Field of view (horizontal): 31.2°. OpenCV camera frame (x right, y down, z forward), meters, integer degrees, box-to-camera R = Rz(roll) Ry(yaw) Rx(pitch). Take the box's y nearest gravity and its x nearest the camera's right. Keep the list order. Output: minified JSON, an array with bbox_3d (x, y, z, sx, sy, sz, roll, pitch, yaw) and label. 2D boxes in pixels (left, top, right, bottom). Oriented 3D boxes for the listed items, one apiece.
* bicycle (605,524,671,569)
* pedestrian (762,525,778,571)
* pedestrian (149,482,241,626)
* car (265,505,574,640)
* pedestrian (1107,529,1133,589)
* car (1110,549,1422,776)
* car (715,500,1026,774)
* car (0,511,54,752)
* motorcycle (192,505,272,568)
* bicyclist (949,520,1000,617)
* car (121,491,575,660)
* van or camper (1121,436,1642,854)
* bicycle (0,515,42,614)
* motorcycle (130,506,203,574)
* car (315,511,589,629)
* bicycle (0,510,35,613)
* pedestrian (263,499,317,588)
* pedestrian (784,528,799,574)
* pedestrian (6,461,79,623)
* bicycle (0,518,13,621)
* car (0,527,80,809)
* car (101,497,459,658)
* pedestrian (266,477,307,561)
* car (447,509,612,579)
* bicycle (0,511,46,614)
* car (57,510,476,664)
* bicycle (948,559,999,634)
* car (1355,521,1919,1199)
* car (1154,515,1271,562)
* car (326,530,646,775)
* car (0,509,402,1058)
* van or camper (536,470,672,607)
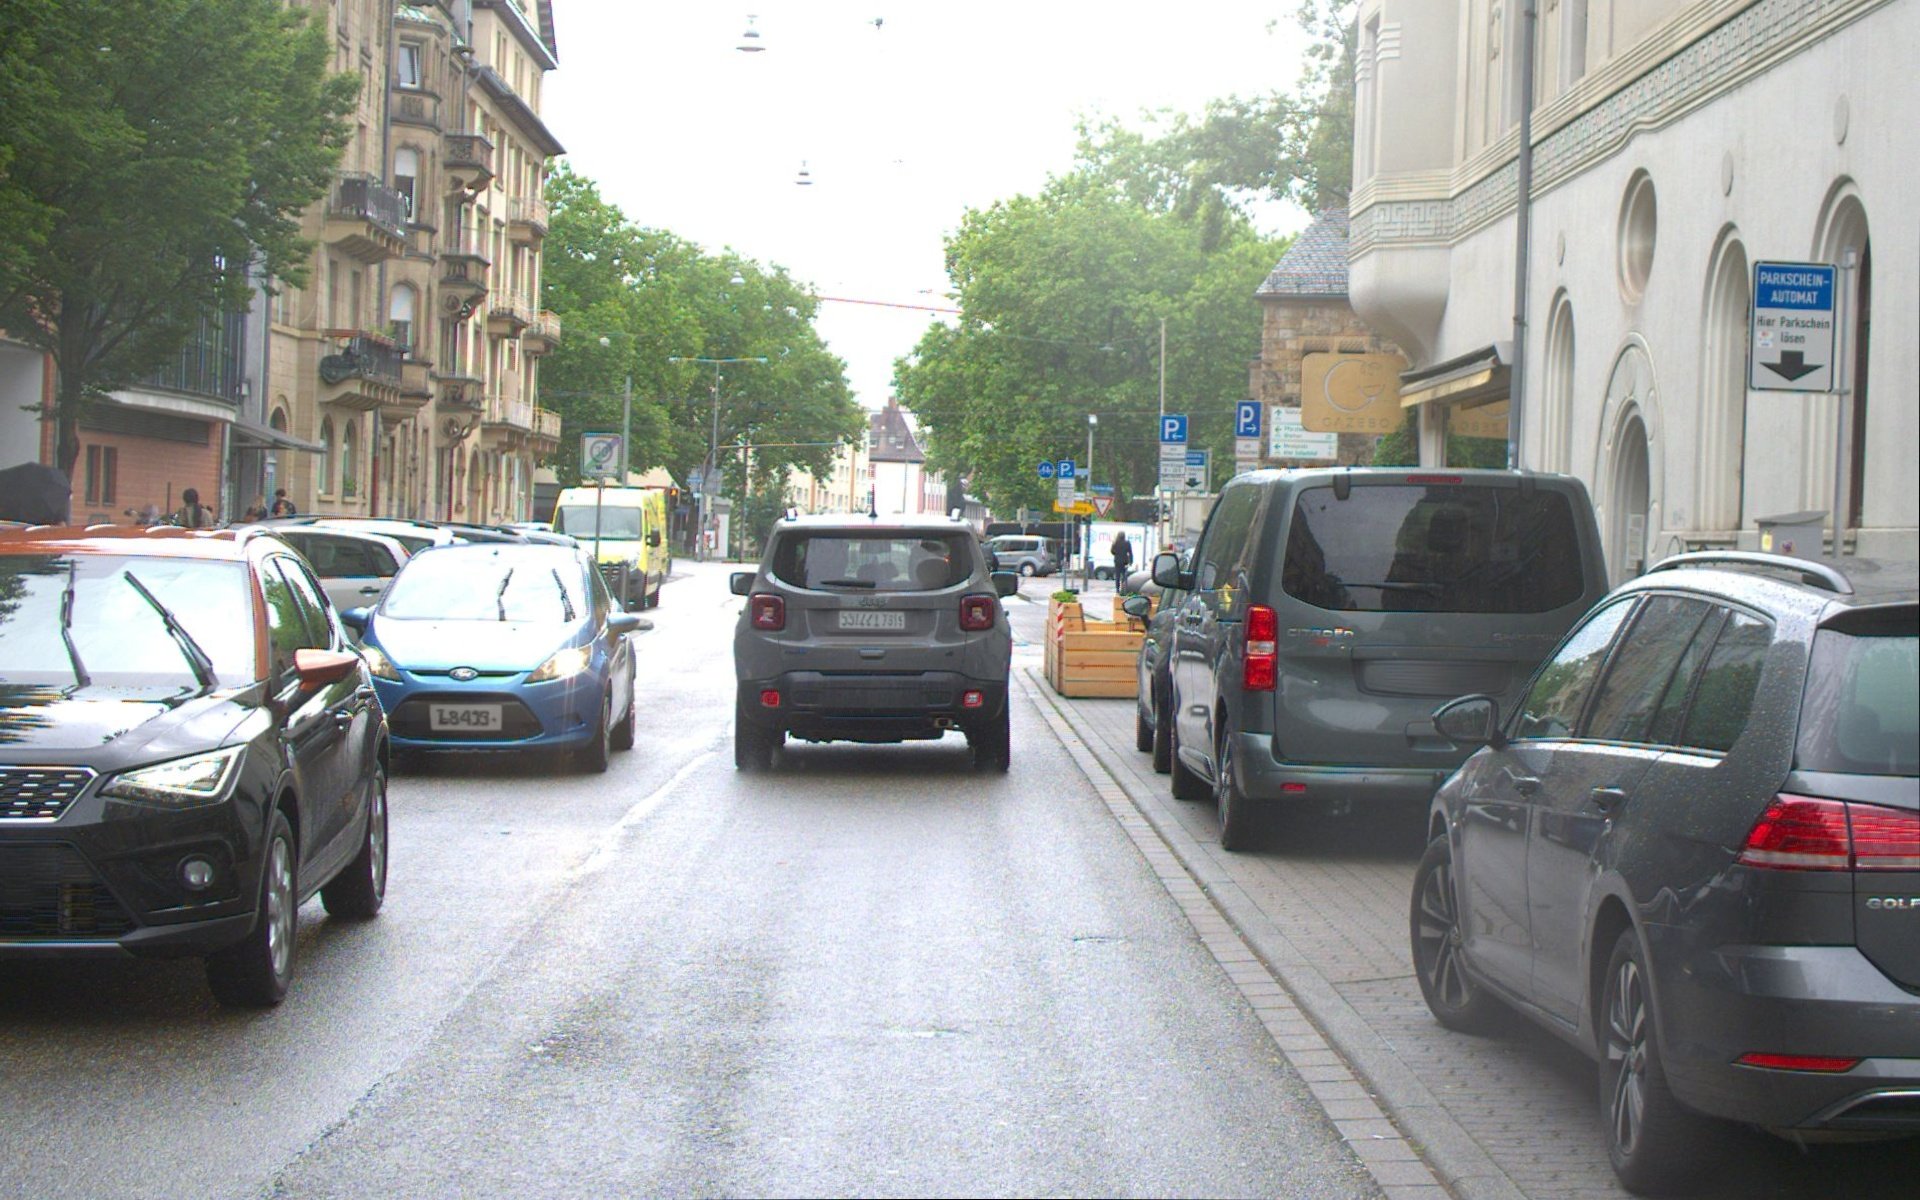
[{"bbox_3d":[-10.717,-1.778,114.463,2.109,1.439,0.539,1,1,-20],"label":"bicycle"},{"bbox_3d":[-6.567,-1.794,118.772,0.467,1.580,0.752,1,1,-2],"label":"pedestrian"},{"bbox_3d":[-9.639,-0.580,43.328,0.825,1.746,0.757,4,1,6],"label":"pedestrian"},{"bbox_3d":[-6.731,-0.341,42.862,3.375,1.536,1.681,2,1,-31],"label":"car"},{"bbox_3d":[4.561,-1.164,97.917,0.690,1.705,0.684,1,1,0],"label":"pedestrian"},{"bbox_3d":[2.014,0.366,23.539,1.710,1.396,3.705,1,1,-1],"label":"car"},{"bbox_3d":[-0.626,0.196,23.632,1.898,1.665,4.506,1,1,-2],"label":"car"},{"bbox_3d":[-7.284,0.167,20.079,3.471,1.430,1.650,0,1,-43],"label":"car"},{"bbox_3d":[-14.506,-1.257,68.527,0.572,1.170,1.778,5,1,22],"label":"motorcycle"},{"bbox_3d":[0.206,-0.464,50.506,0.705,1.399,1.171,1,1,0],"label":"bicyclist"},{"bbox_3d":[-7.054,-0.273,39.718,4.510,1.534,2.338,5,-2,-33],"label":"car"},{"bbox_3d":[2.038,0.154,18.196,2.021,1.884,5.055,1,1,-1],"label":"van or camper"},{"bbox_3d":[-12.241,-0.508,41.821,1.895,1.148,0.554,6,1,-3],"label":"bicycle"},{"bbox_3d":[-14.408,-1.086,62.458,0.753,1.170,2.116,4,1,0],"label":"motorcycle"},{"bbox_3d":[-7.144,-0.423,48.408,3.375,1.502,1.681,2,1,-31],"label":"car"},{"bbox_3d":[-11.709,-0.525,39.512,1.895,1.148,0.554,6,1,-3],"label":"bicycle"},{"bbox_3d":[-12.074,-1.012,61.956,0.709,1.546,0.607,4,1,6],"label":"pedestrian"},{"bbox_3d":[-5.871,-1.697,119.708,0.467,1.580,0.752,1,1,-2],"label":"pedestrian"},{"bbox_3d":[-9.861,-0.618,36.959,0.611,1.701,0.433,2,-1,0],"label":"pedestrian"},{"bbox_3d":[-11.681,-0.432,38.522,1.895,1.148,0.554,6,1,-3],"label":"bicycle"},{"bbox_3d":[-6.726,0.255,17.391,3.967,1.442,1.767,3,1,-41],"label":"car"},{"bbox_3d":[-7.260,-0.244,36.746,3.375,1.648,1.634,0,1,-33],"label":"car"},{"bbox_3d":[-14.298,-1.721,72.939,0.660,1.751,0.797,1,1,-24],"label":"pedestrian"},{"bbox_3d":[-10.829,-1.403,86.580,3.653,1.553,1.799,3,0,-36],"label":"car"},{"bbox_3d":[-11.768,-0.517,40.223,1.895,1.148,0.554,6,1,-3],"label":"bicycle"},{"bbox_3d":[-6.873,-0.137,34.190,3.702,1.447,1.685,0,1,-36],"label":"car"},{"bbox_3d":[0.196,-0.057,50.513,0.705,1.050,1.813,1,1,0],"label":"bicycle"},{"bbox_3d":[2.233,0.602,8.763,1.841,1.540,4.004,1,1,-2],"label":"car"},{"bbox_3d":[12.963,-3.166,176.769,5.904,2.326,2.059,1,1,3],"label":"car"},{"bbox_3d":[-3.065,0.288,22.923,1.669,1.460,4.004,1,1,-2],"label":"car"},{"bbox_3d":[-2.996,0.478,11.807,1.669,1.554,4.004,2,1,-3],"label":"car"},{"bbox_3d":[-7.269,-1.199,70.845,2.121,2.522,6.875,-2,-1,-1],"label":"van or camper"}]
